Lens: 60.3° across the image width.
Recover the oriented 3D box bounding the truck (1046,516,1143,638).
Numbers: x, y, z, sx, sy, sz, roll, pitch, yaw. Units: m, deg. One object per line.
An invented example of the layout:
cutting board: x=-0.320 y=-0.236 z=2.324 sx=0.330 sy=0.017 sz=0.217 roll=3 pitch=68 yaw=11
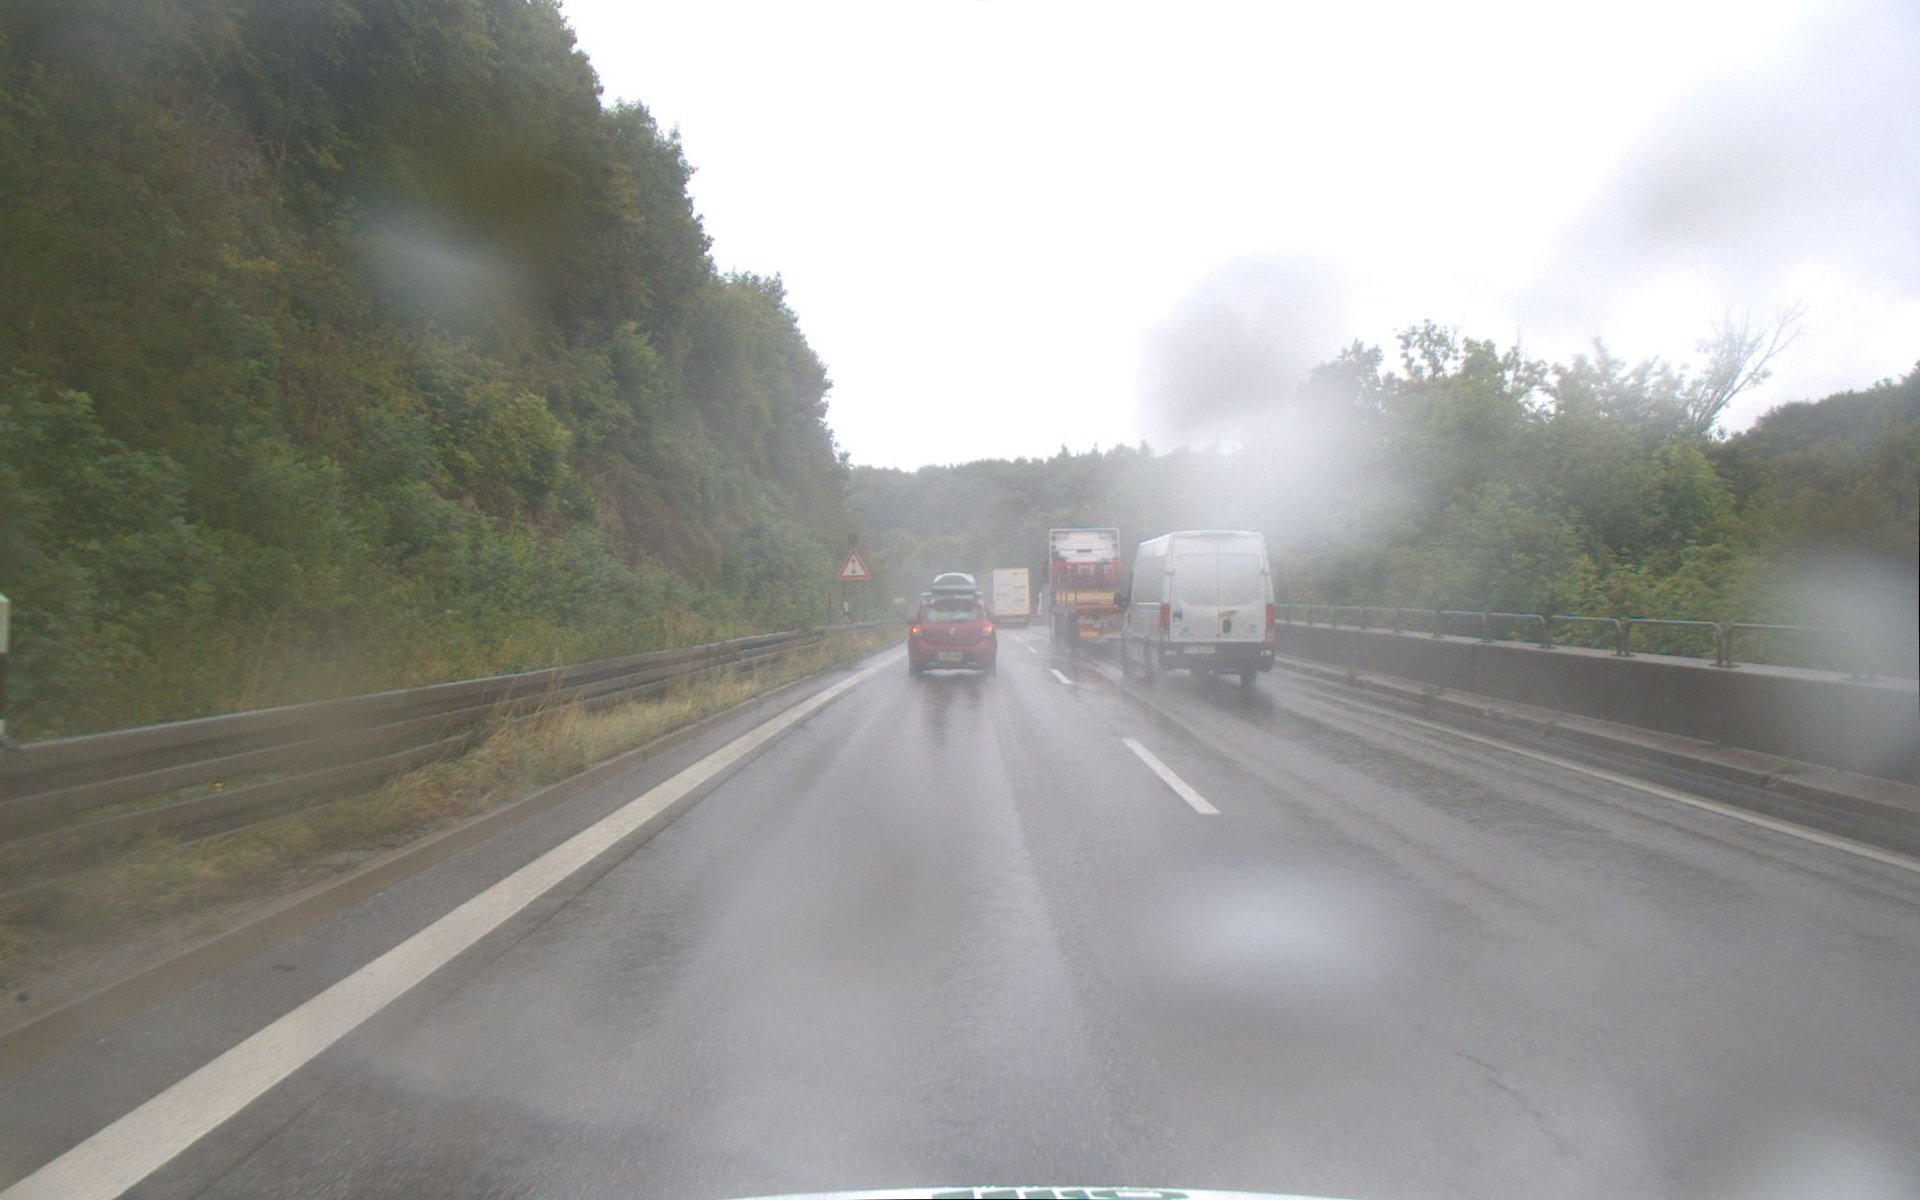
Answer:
truck: x=4.625 y=-0.769 z=57.782 sx=3.152 sy=4.047 sz=5.440 roll=0 pitch=0 yaw=2

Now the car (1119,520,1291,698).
car: x=4.326 y=0.142 z=30.504 sx=2.160 sy=2.843 sz=7.383 roll=1 pitch=0 yaw=1

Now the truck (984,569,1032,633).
truck: x=3.290 y=0.068 z=115.610 sx=2.633 sy=4.165 sz=9.311 roll=-2 pitch=0 yaw=-2

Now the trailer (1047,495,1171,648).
trailer: x=4.351 y=-0.763 z=51.093 sx=3.151 sy=4.069 sz=13.528 roll=0 pitch=0 yaw=2

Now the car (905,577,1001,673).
car: x=-0.106 y=0.467 z=32.734 sx=1.722 sy=1.714 sz=4.000 roll=-2 pitch=0 yaw=0

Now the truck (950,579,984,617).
truck: x=0.617 y=-0.164 z=153.350 sx=2.999 sy=3.370 sz=8.069 roll=0 pitch=0 yaw=-1
